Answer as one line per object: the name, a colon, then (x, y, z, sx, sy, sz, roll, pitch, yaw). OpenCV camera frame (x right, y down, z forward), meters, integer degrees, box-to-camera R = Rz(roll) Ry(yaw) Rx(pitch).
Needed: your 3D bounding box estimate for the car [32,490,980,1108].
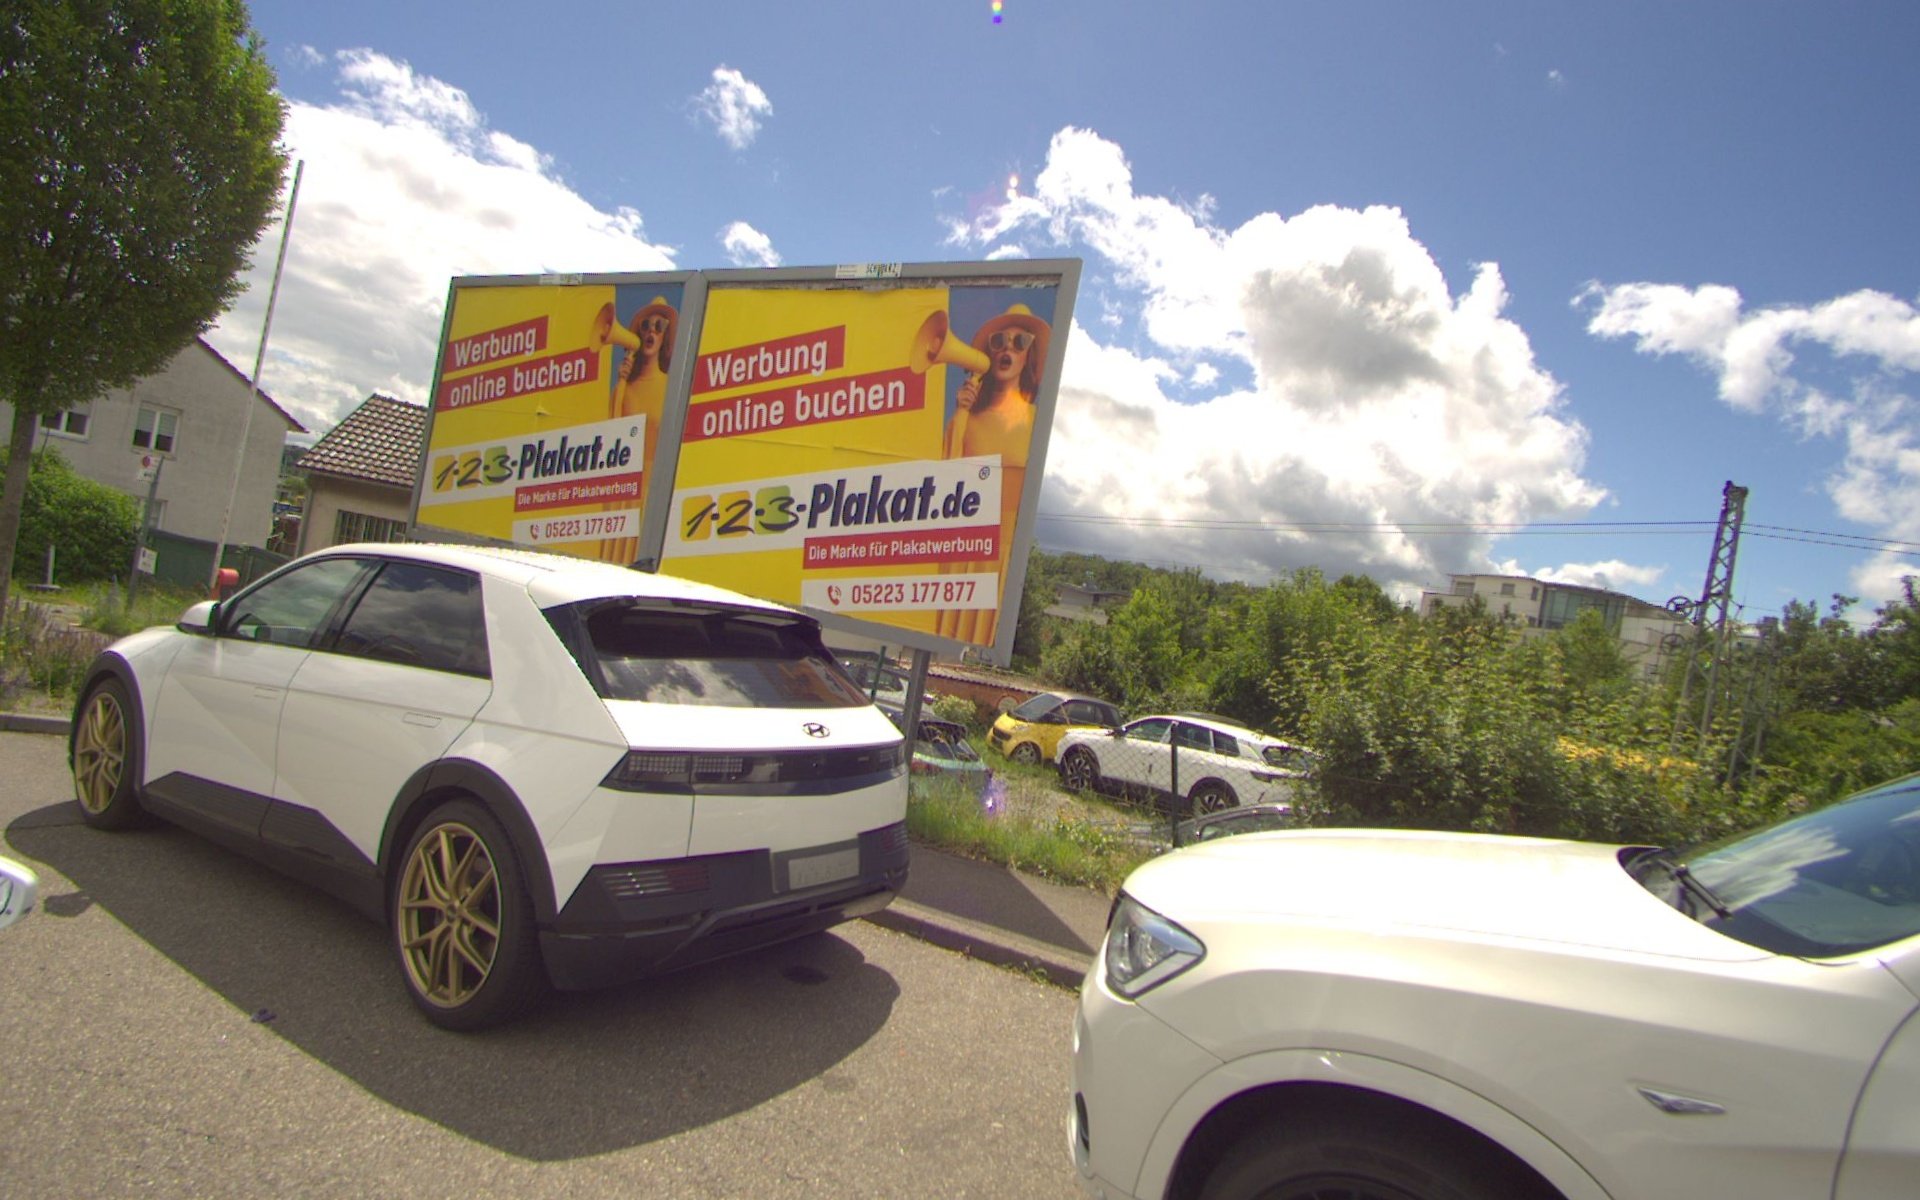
car: (-2.327, 0.502, 4.756, 4.392, 1.584, 1.844, 6, -1, 32)

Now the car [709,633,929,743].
car: (-2.778, 1.716, 19.891, 3.979, 1.405, 1.741, 10, -1, -11)

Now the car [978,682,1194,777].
car: (2.543, 2.614, 20.324, 3.988, 1.407, 1.517, 7, -1, -21)

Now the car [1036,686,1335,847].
car: (3.615, 2.651, 16.884, 1.743, 1.705, 4.625, 7, -1, -41)

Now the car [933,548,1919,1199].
car: (2.311, 1.014, 1.818, 4.404, 1.678, 1.689, 6, -2, 31)

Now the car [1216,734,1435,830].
car: (7.135, 3.525, 19.528, 4.147, 1.406, 1.775, 8, -1, -33)
